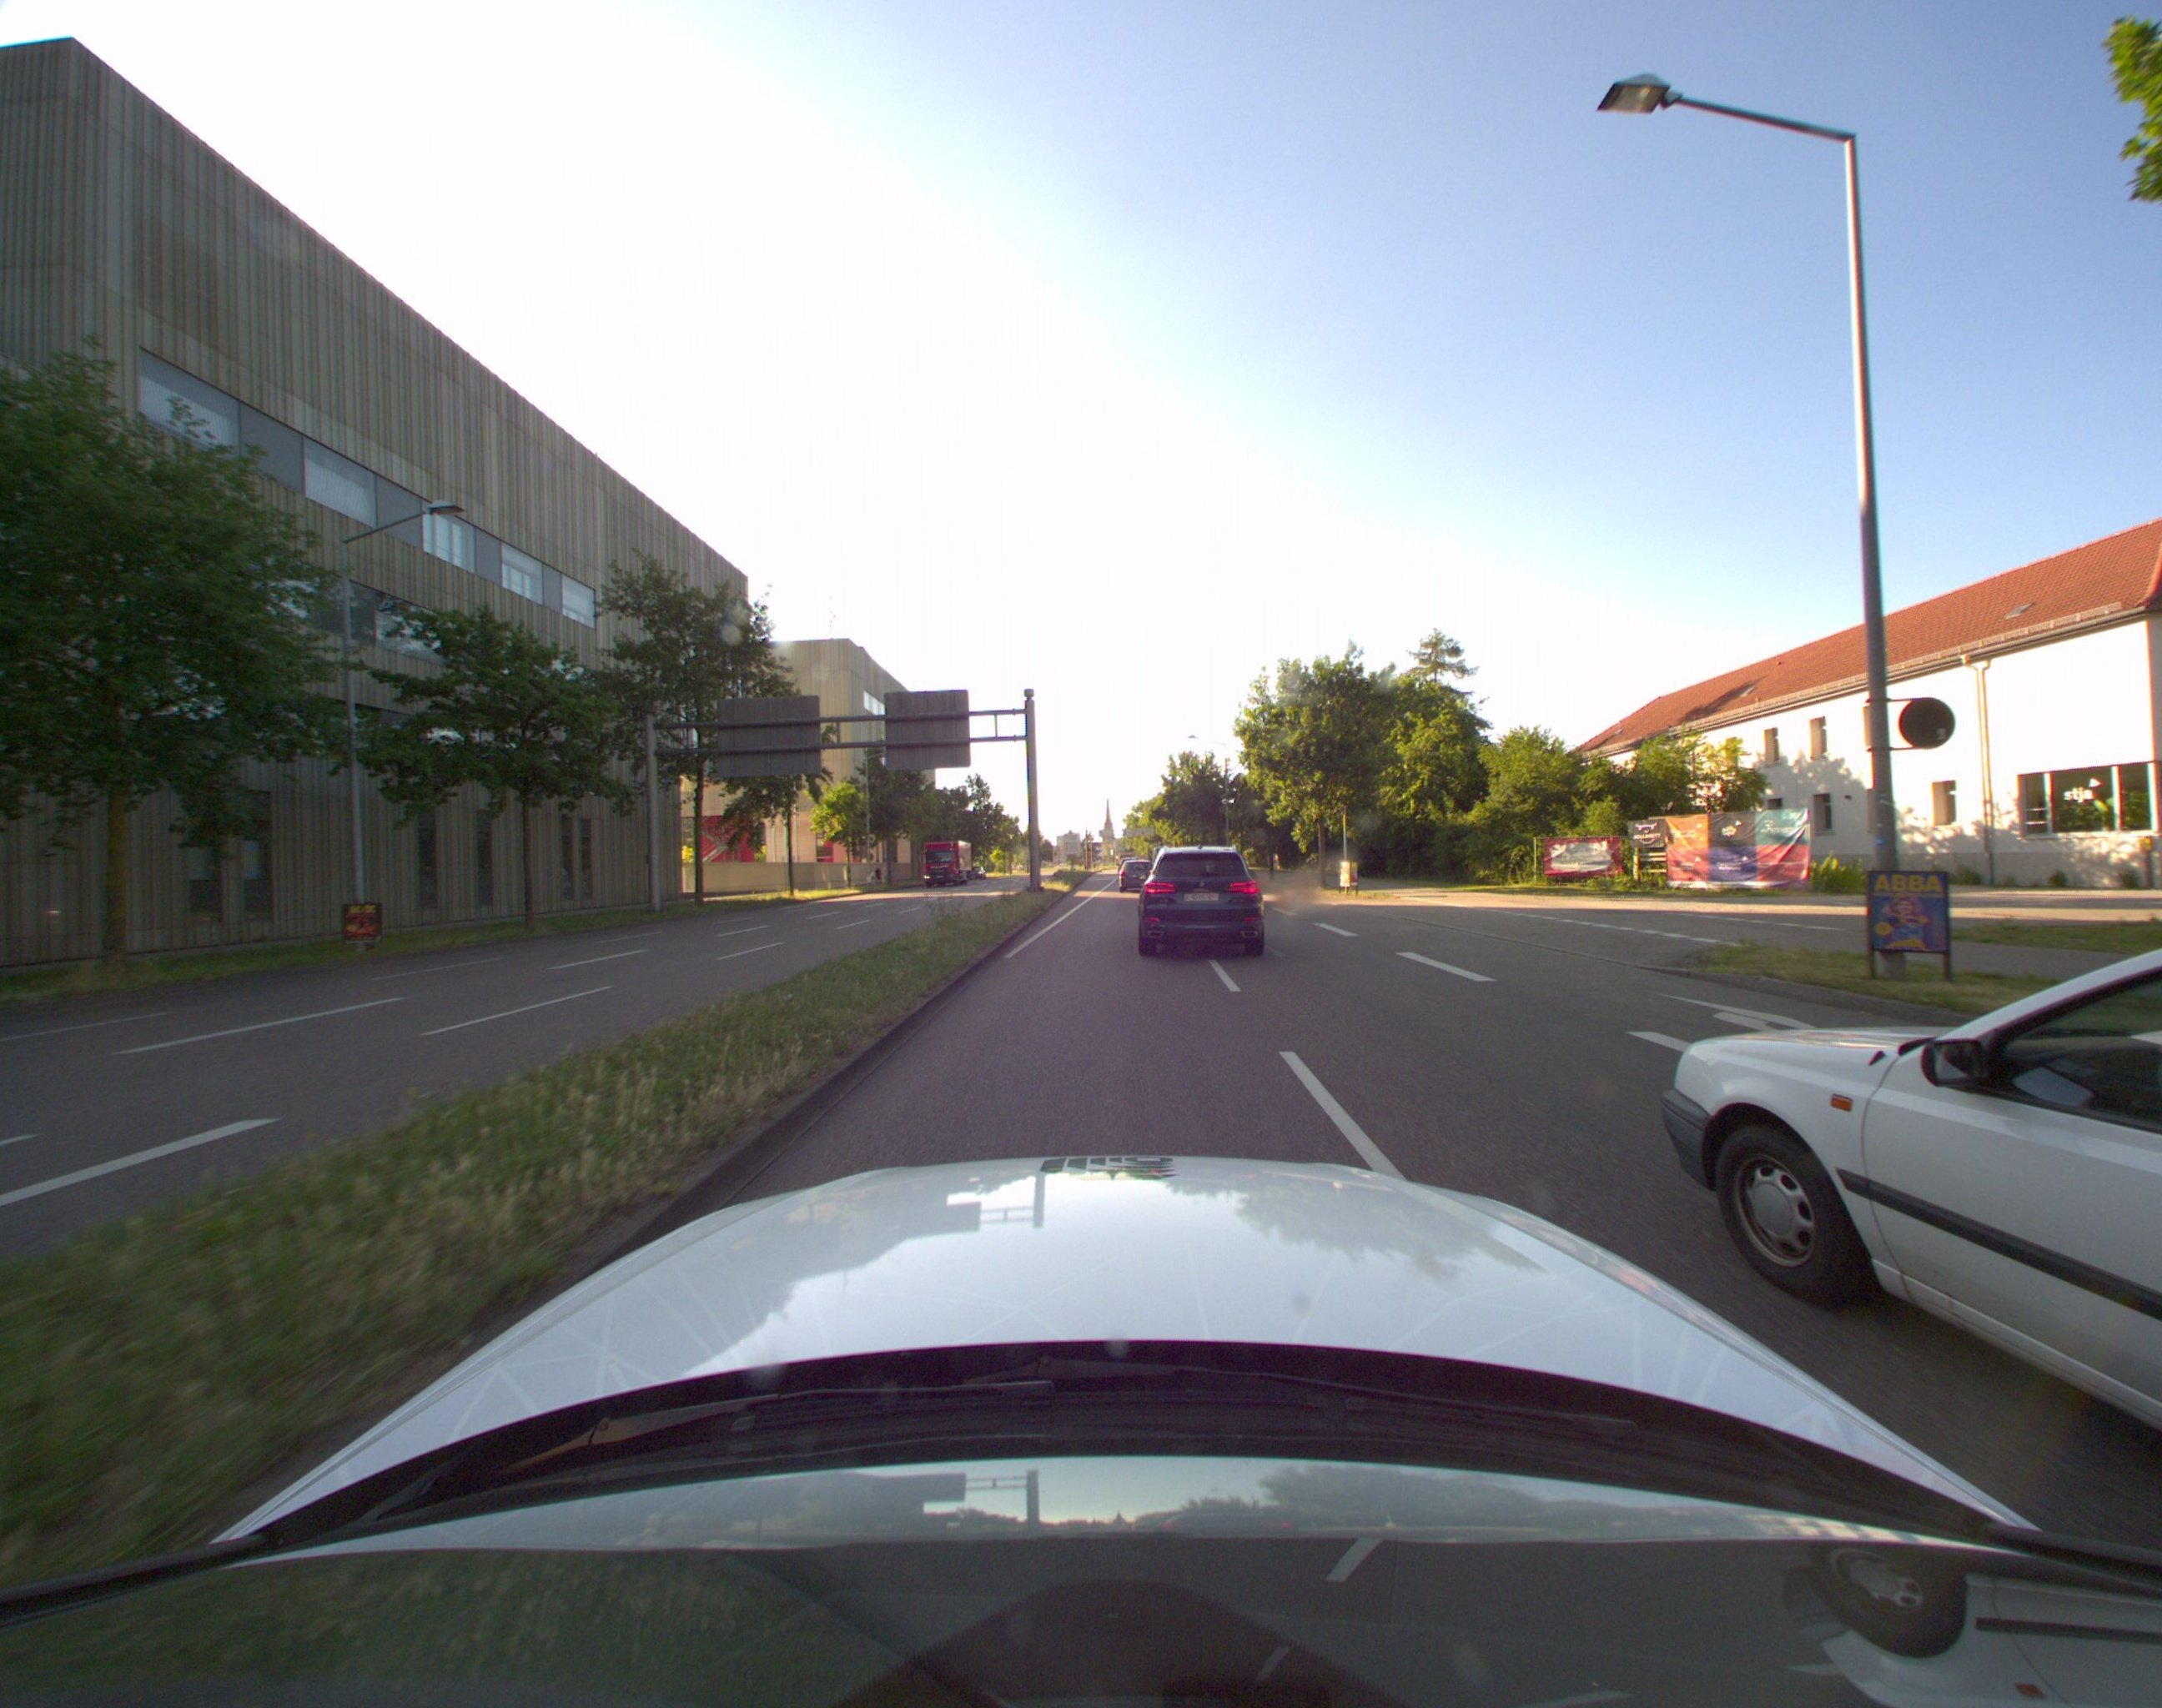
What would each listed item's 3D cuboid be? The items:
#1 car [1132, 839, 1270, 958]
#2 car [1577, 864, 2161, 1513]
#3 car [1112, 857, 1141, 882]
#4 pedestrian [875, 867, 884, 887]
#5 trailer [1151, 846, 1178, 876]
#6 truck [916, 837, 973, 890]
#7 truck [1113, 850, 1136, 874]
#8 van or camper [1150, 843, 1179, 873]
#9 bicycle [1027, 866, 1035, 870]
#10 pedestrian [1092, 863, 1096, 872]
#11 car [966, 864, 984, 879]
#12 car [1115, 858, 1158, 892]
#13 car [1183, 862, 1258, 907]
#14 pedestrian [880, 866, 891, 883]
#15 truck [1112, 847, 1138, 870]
[{"bbox_3d":[1.909,0.699,14.316,1.947,1.727,4.702,-1,-1,3],"label":"car"},{"bbox_3d":[3.156,0.736,1.897,1.605,1.398,4.038,0,0,1],"label":"car"},{"bbox_3d":[3.281,1.133,58.636,1.896,1.660,4.005,-2,-1,5],"label":"car"},{"bbox_3d":[-19.611,2.226,79.375,0.630,1.841,0.717,-2,-1,3],"label":"pedestrian"},{"bbox_3d":[7.032,0.581,68.853,2.082,2.400,3.502,-1,-1,2],"label":"trailer"},{"bbox_3d":[-10.710,0.721,65.045,2.990,3.811,10.081,-2,0,-2],"label":"truck"},{"bbox_3d":[5.182,0.902,95.628,2.207,2.651,4.784,-2,-1,8],"label":"truck"},{"bbox_3d":[7.608,0.366,75.076,2.275,2.629,6.587,-1,0,3],"label":"van or camper"},{"bbox_3d":[-12.216,3.459,198.949,1.893,1.020,0.506,-1,-1,17],"label":"bicycle"},{"bbox_3d":[3.089,3.207,195.505,0.787,2.014,0.700,-2,-1,-4],"label":"pedestrian"},{"bbox_3d":[-11.520,1.848,88.716,1.592,1.512,3.863,-2,0,-3],"label":"car"},{"bbox_3d":[2.535,0.943,37.968,1.741,1.473,3.819,-2,-1,0],"label":"car"},{"bbox_3d":[4.533,0.941,27.055,1.847,1.338,4.627,-1,-1,2],"label":"car"},{"bbox_3d":[-18.865,2.000,78.649,0.773,1.601,0.910,-2,-1,3],"label":"pedestrian"},{"bbox_3d":[5.161,0.559,96.276,2.572,2.558,6.249,-2,-1,-1],"label":"truck"}]
